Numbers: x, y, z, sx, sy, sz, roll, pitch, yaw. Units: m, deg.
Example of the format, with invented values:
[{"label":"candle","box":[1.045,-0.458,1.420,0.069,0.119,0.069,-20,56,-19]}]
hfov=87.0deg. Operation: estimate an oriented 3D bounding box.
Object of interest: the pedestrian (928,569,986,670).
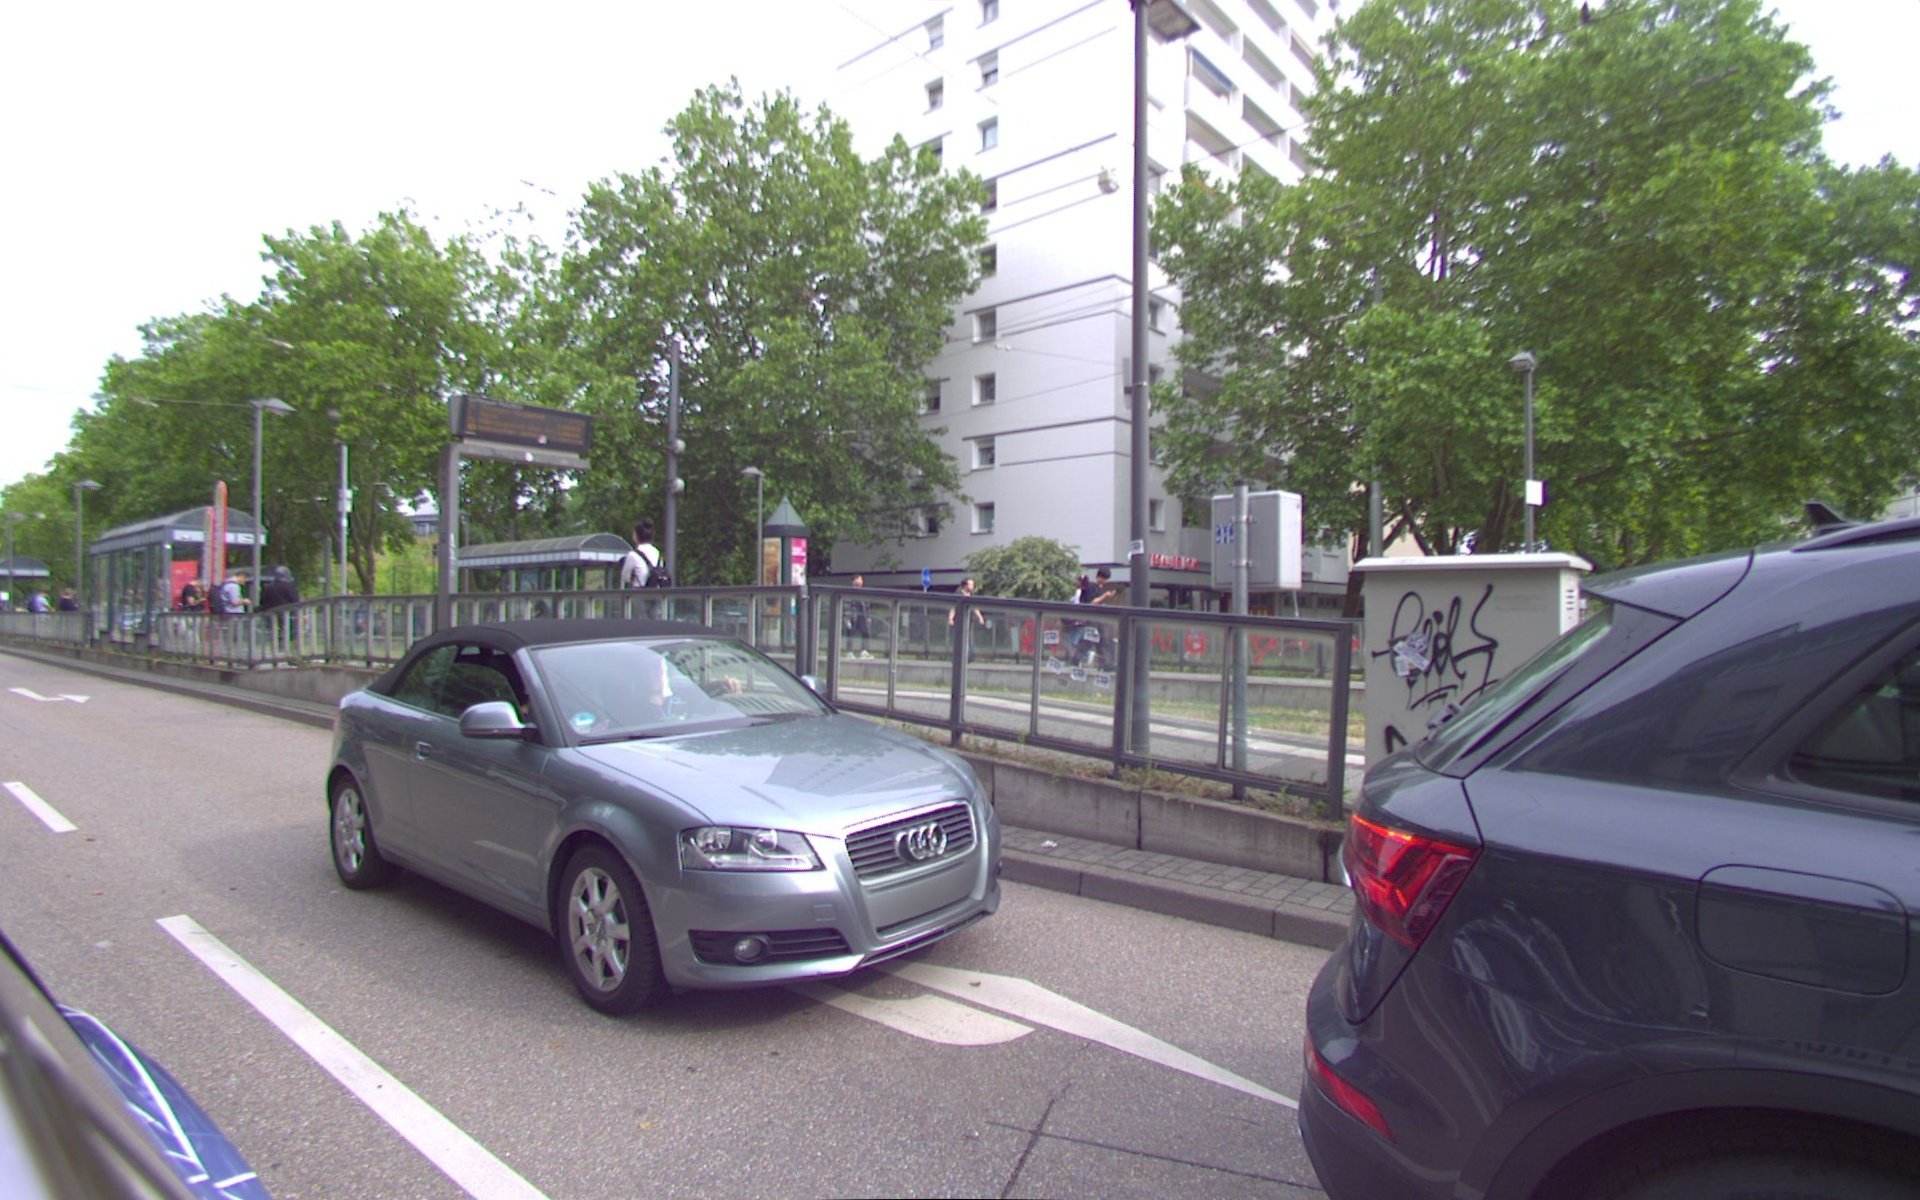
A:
[{"label":"pedestrian","box":[-0.048,0.353,19.067,0.666,1.848,0.871,-1,0,41]}]

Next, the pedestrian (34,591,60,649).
[{"label":"pedestrian","box":[-29.047,0.624,32.204,0.523,1.818,0.607,-1,0,-35]}]

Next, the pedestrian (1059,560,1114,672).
[{"label":"pedestrian","box":[2.292,0.278,18.295,0.666,1.965,0.728,-1,0,41]}]

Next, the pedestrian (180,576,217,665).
[{"label":"pedestrian","box":[-15.934,0.420,21.181,0.467,1.818,0.607,-1,0,-24]}]

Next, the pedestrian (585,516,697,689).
[{"label":"pedestrian","box":[-3.290,0.023,10.427,0.979,1.683,0.711,-1,0,44]}]

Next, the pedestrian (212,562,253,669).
[{"label":"pedestrian","box":[-12.715,0.267,17.689,0.605,1.818,0.469,-1,0,45]}]

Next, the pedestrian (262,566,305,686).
[{"label":"pedestrian","box":[-10.539,0.389,15.761,0.513,1.818,0.606,-1,0,-37]}]

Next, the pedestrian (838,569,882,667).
[{"label":"pedestrian","box":[-2.032,0.359,20.545,0.553,1.945,0.690,-1,0,41]}]

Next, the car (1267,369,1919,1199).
[{"label":"car","box":[2.679,0.531,0.991,4.225,1.649,1.715,-1,0,41]}]

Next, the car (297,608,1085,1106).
[{"label":"car","box":[-1.578,0.761,4.894,4.097,1.398,1.694,-1,0,41]}]

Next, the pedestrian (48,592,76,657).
[{"label":"pedestrian","box":[-25.578,0.694,28.842,0.523,1.818,0.607,-1,0,-35]}]

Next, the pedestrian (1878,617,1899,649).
[{"label":"pedestrian","box":[58.650,2.069,63.934,0.666,2.029,0.670,-1,0,2]}]

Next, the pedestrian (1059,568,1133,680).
[{"label":"pedestrian","box":[2.242,0.382,16.669,0.850,1.769,0.871,-1,0,41]}]
